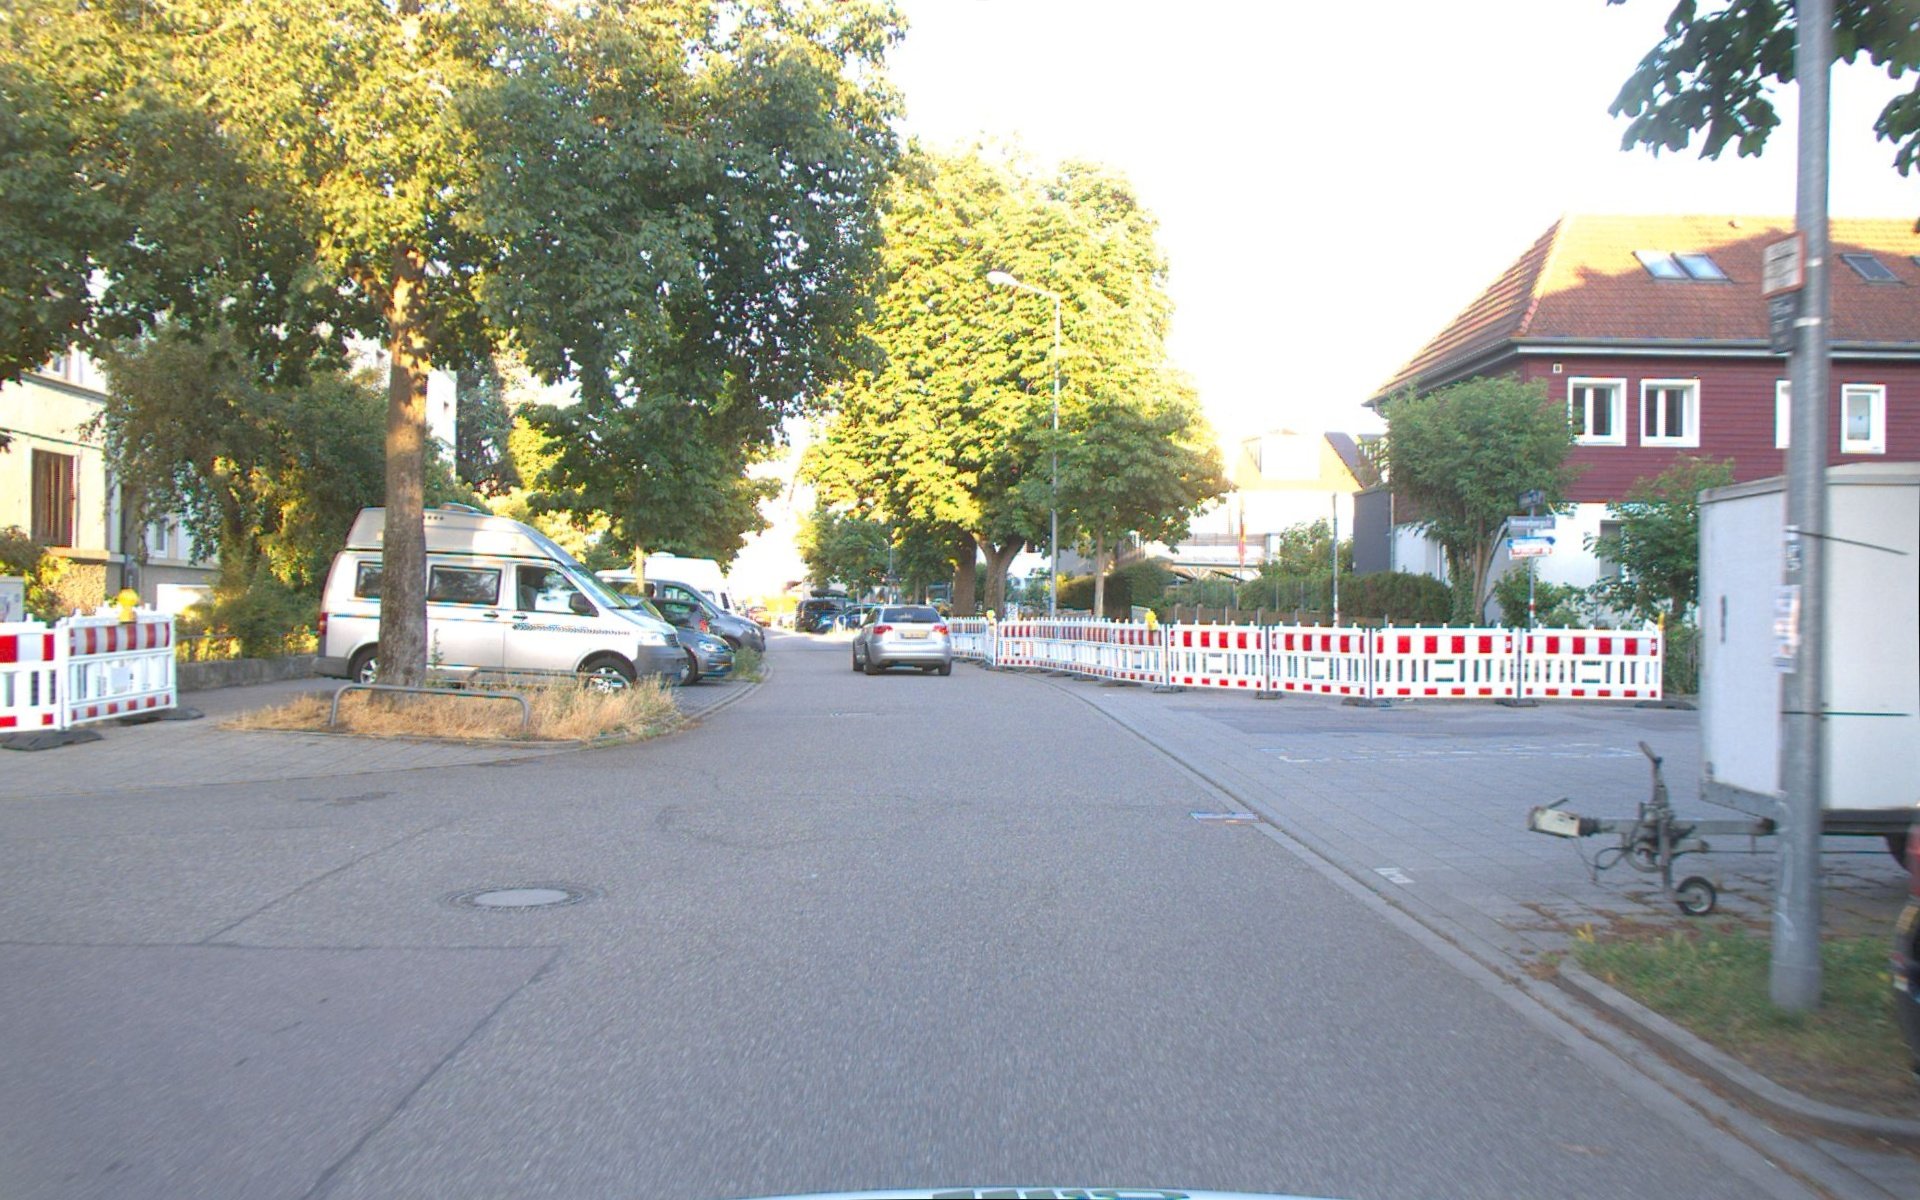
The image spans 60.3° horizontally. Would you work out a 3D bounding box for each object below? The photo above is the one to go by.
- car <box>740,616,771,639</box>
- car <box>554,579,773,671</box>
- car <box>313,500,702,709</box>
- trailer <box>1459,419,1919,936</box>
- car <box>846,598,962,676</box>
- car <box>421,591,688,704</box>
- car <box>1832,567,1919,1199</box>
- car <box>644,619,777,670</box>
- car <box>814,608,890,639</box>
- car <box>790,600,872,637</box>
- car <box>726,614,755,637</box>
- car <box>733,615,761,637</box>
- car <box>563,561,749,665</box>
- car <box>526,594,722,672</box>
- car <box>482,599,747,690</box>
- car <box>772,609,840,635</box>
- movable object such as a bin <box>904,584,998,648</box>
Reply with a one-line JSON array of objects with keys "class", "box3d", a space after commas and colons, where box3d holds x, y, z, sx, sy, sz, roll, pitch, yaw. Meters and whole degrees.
[{"class": "car", "box3d": [-14.161, 1.914, 114.506, 1.701, 1.509, 3.544, 1, -1, -14]}, {"class": "car", "box3d": [-6.428, 0.550, 36.288, 4.585, 1.906, 1.997, 1, -1, -8]}, {"class": "car", "box3d": [-5.962, 0.064, 22.236, 4.635, 2.614, 2.000, 1, -1, 0]}, {"class": "trailer", "box3d": [4.729, 0.359, 8.197, 3.905, 2.226, 2.000, 1, -1, 0]}, {"class": "car", "box3d": [-1.213, 0.771, 34.259, 1.775, 1.514, 3.988, 0, -1, -12]}, {"class": "car", "box3d": [-6.229, 0.726, 25.730, 3.728, 1.549, 1.651, 2, -1, -4]}, {"class": "car", "box3d": [4.483, 0.710, 3.519, 4.336, 1.525, 1.773, 1, -1, 0]}, {"class": "car", "box3d": [-8.515, 1.504, 56.315, 4.330, 1.643, 1.893, 1, -1, -14]}, {"class": "car", "box3d": [-6.056, 1.297, 92.920, 3.928, 1.680, 1.754, 1, -1, -20]}, {"class": "car", "box3d": [-7.619, 1.093, 97.518, 4.486, 2.058, 2.090, 1, -1, -18]}, {"class": "car", "box3d": [-16.594, 1.930, 124.702, 1.778, 1.641, 3.568, 1, -1, -14]}, {"class": "car", "box3d": [-15.496, 1.875, 119.962, 1.635, 1.601, 3.428, 1, -1, -14]}, {"class": "car", "box3d": [-7.528, 0.338, 41.354, 4.417, 2.473, 1.997, 1, -1, -7]}, {"class": "car", "box3d": [-6.762, 0.684, 33.591, 3.696, 1.464, 1.653, 1, -1, -6]}, {"class": "car", "box3d": [-5.837, 0.748, 28.272, 4.158, 1.418, 1.683, 1, -1, -2]}, {"class": "car", "box3d": [-9.976, 1.412, 107.390, 4.088, 1.600, 1.787, 1, -1, -20]}, {"class": "movable object such as a bin", "box3d": [-0.422, 0.649, 66.656, 2.584, 2.445, 5.177, 1, -1, -14]}]
